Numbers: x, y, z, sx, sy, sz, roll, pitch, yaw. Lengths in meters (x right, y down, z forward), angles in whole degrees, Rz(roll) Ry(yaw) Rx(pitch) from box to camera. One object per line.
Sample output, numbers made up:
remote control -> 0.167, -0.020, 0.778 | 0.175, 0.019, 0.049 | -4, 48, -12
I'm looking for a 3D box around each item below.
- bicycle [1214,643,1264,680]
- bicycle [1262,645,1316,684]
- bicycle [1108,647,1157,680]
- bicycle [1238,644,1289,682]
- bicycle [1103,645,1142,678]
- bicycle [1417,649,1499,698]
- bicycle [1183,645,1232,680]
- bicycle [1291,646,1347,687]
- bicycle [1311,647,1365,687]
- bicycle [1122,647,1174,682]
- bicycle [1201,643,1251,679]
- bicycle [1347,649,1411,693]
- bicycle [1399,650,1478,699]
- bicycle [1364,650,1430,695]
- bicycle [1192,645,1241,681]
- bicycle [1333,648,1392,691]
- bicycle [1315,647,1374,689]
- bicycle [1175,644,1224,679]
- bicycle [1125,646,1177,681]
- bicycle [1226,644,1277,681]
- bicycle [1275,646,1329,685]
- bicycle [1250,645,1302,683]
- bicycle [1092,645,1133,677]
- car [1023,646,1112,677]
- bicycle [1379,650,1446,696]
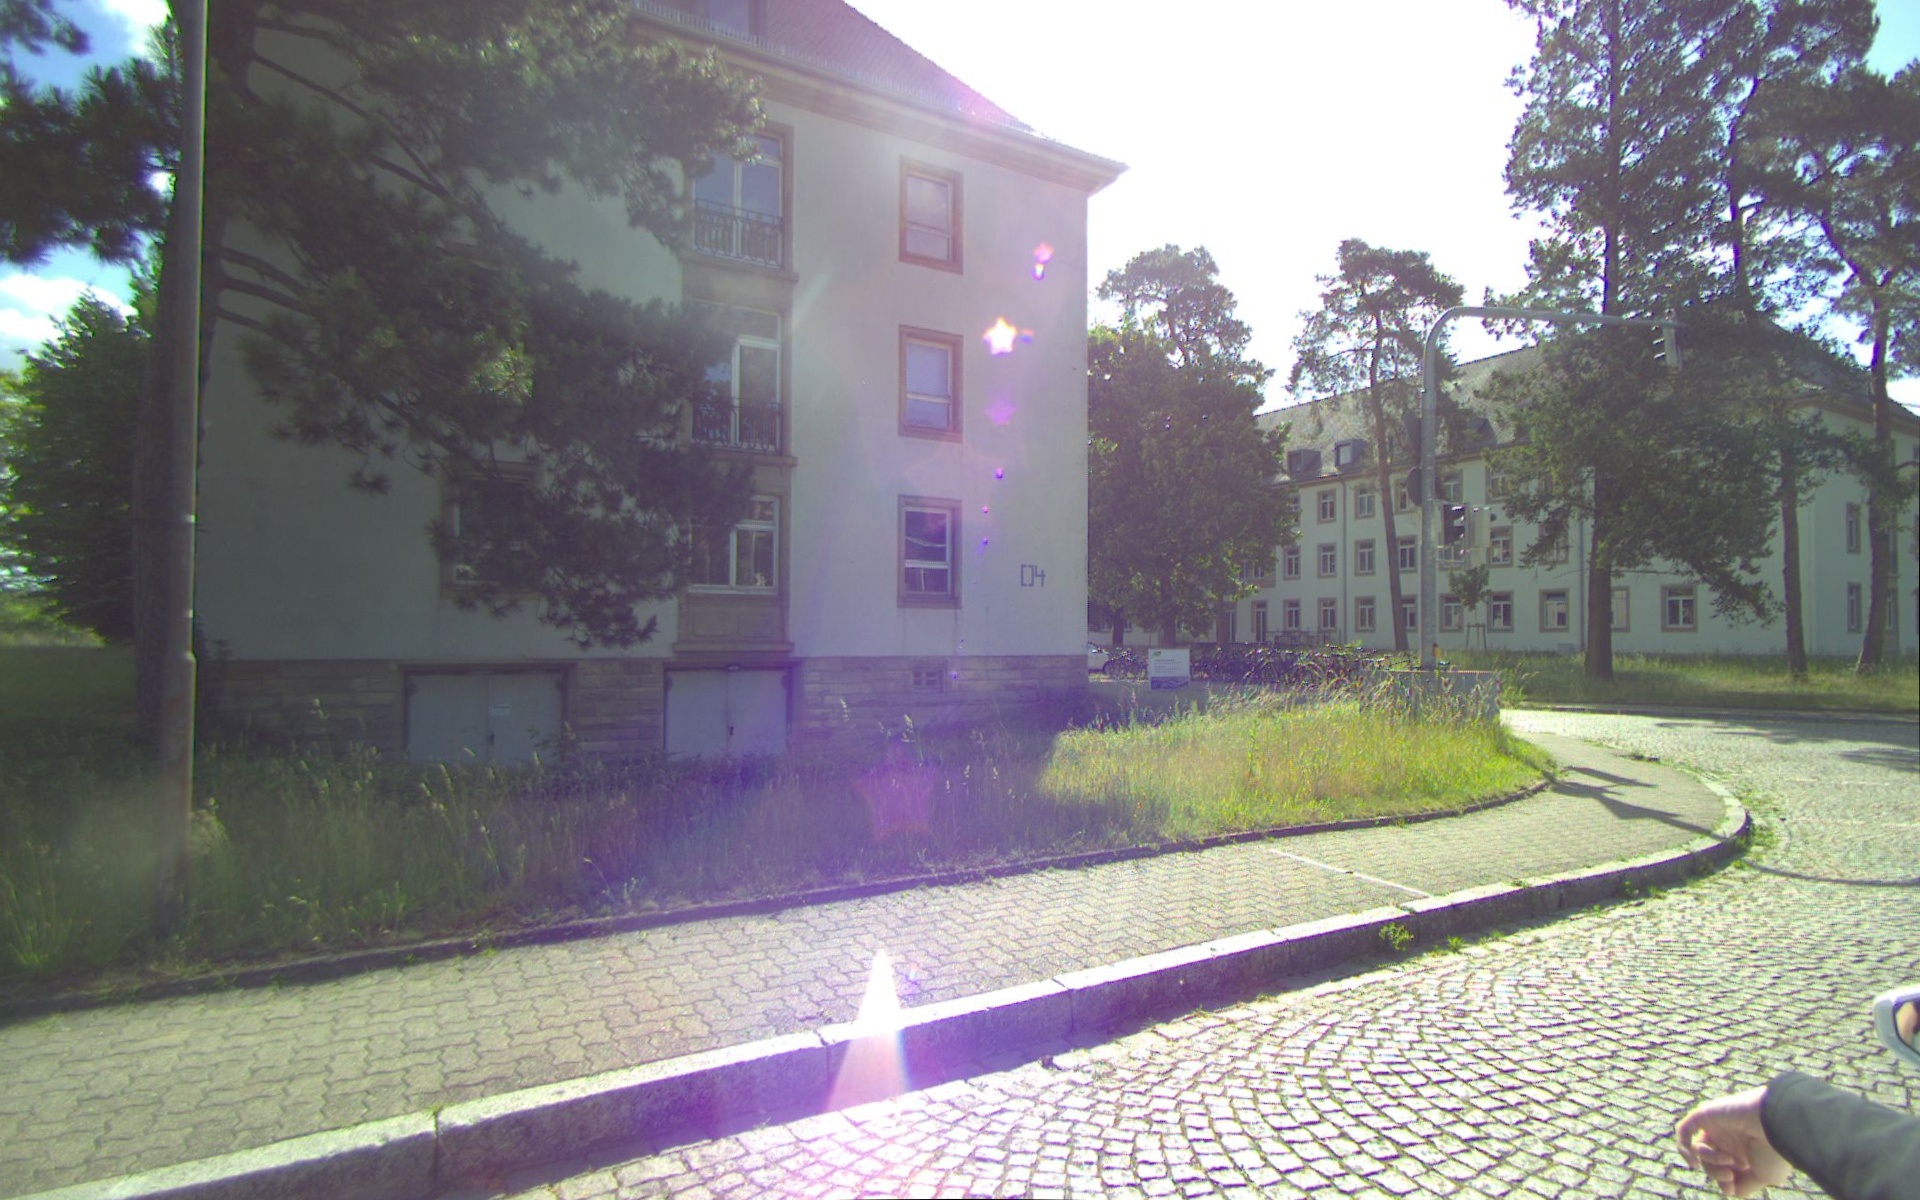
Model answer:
bicycle -> 9.641, 2.116, 34.675 | 1.915, 1.236, 0.511 | 1, -2, -31
bicycle -> 10.735, 2.094, 32.747 | 1.954, 1.236, 0.511 | 1, -2, -31
bicycle -> 6.510, 2.383, 37.912 | 1.792, 1.236, 0.516 | 0, -2, 6
bicycle -> 10.176, 2.102, 33.670 | 1.915, 1.236, 0.511 | 1, -2, -31
bicycle -> 6.381, 2.403, 39.412 | 1.815, 1.236, 0.509 | 2, -3, -42
bicycle -> 13.336, 1.946, 26.963 | 0.627, 1.236, 1.935 | 1, -2, -30
bicycle -> 8.881, 2.225, 35.968 | 1.915, 1.236, 0.511 | 1, -2, -31
bicycle -> 11.362, 2.087, 31.767 | 1.993, 1.236, 0.511 | 1, -2, -31
bicycle -> 11.851, 2.087, 31.465 | 1.878, 1.236, 0.545 | 1, -2, -31
bicycle -> 6.790, 2.319, 36.315 | 1.794, 1.236, 0.515 | -1, -2, 24
bicycle -> 9.326, 2.122, 35.197 | 1.915, 1.236, 0.511 | 1, -2, -31
bicycle -> 12.148, 2.042, 29.101 | 2.080, 1.236, 0.630 | 1, -2, -31
bicycle -> 12.682, 1.953, 26.684 | 0.627, 1.236, 1.853 | 1, -2, -30
bicycle -> 12.444, 2.035, 28.575 | 2.100, 1.236, 0.630 | 1, -2, -31
bicycle -> 9.096, 2.220, 35.597 | 1.915, 1.236, 0.511 | 1, -2, -31
bicycle -> 12.046, 2.060, 30.039 | 1.967, 1.236, 0.569 | 1, -2, -31
bicycle -> 11.781, 2.073, 30.753 | 2.006, 1.236, 0.576 | 1, -2, -31
bicycle -> 8.663, 2.230, 36.359 | 1.915, 1.236, 0.511 | 1, -2, -31
bicycle -> 7.020, 2.329, 36.922 | 1.794, 1.236, 0.515 | -1, -2, 24
bicycle -> 9.922, 2.109, 34.153 | 1.915, 1.236, 0.511 | 1, -2, -31
bicycle -> 10.999, 2.092, 32.303 | 1.954, 1.236, 0.511 | 1, -2, -31
bicycle -> 10.445, 2.096, 33.184 | 1.932, 1.236, 0.511 | 1, -2, -31
bicycle -> 6.064, 2.409, 39.927 | 1.813, 1.236, 0.510 | 2, -3, -39
car -> 4.558, 2.576, 42.545 | 3.550, 1.227, 1.504 | 1, -3, -29
bicycle -> 12.693, 2.029, 28.162 | 2.090, 1.236, 0.630 | 1, -2, -31
